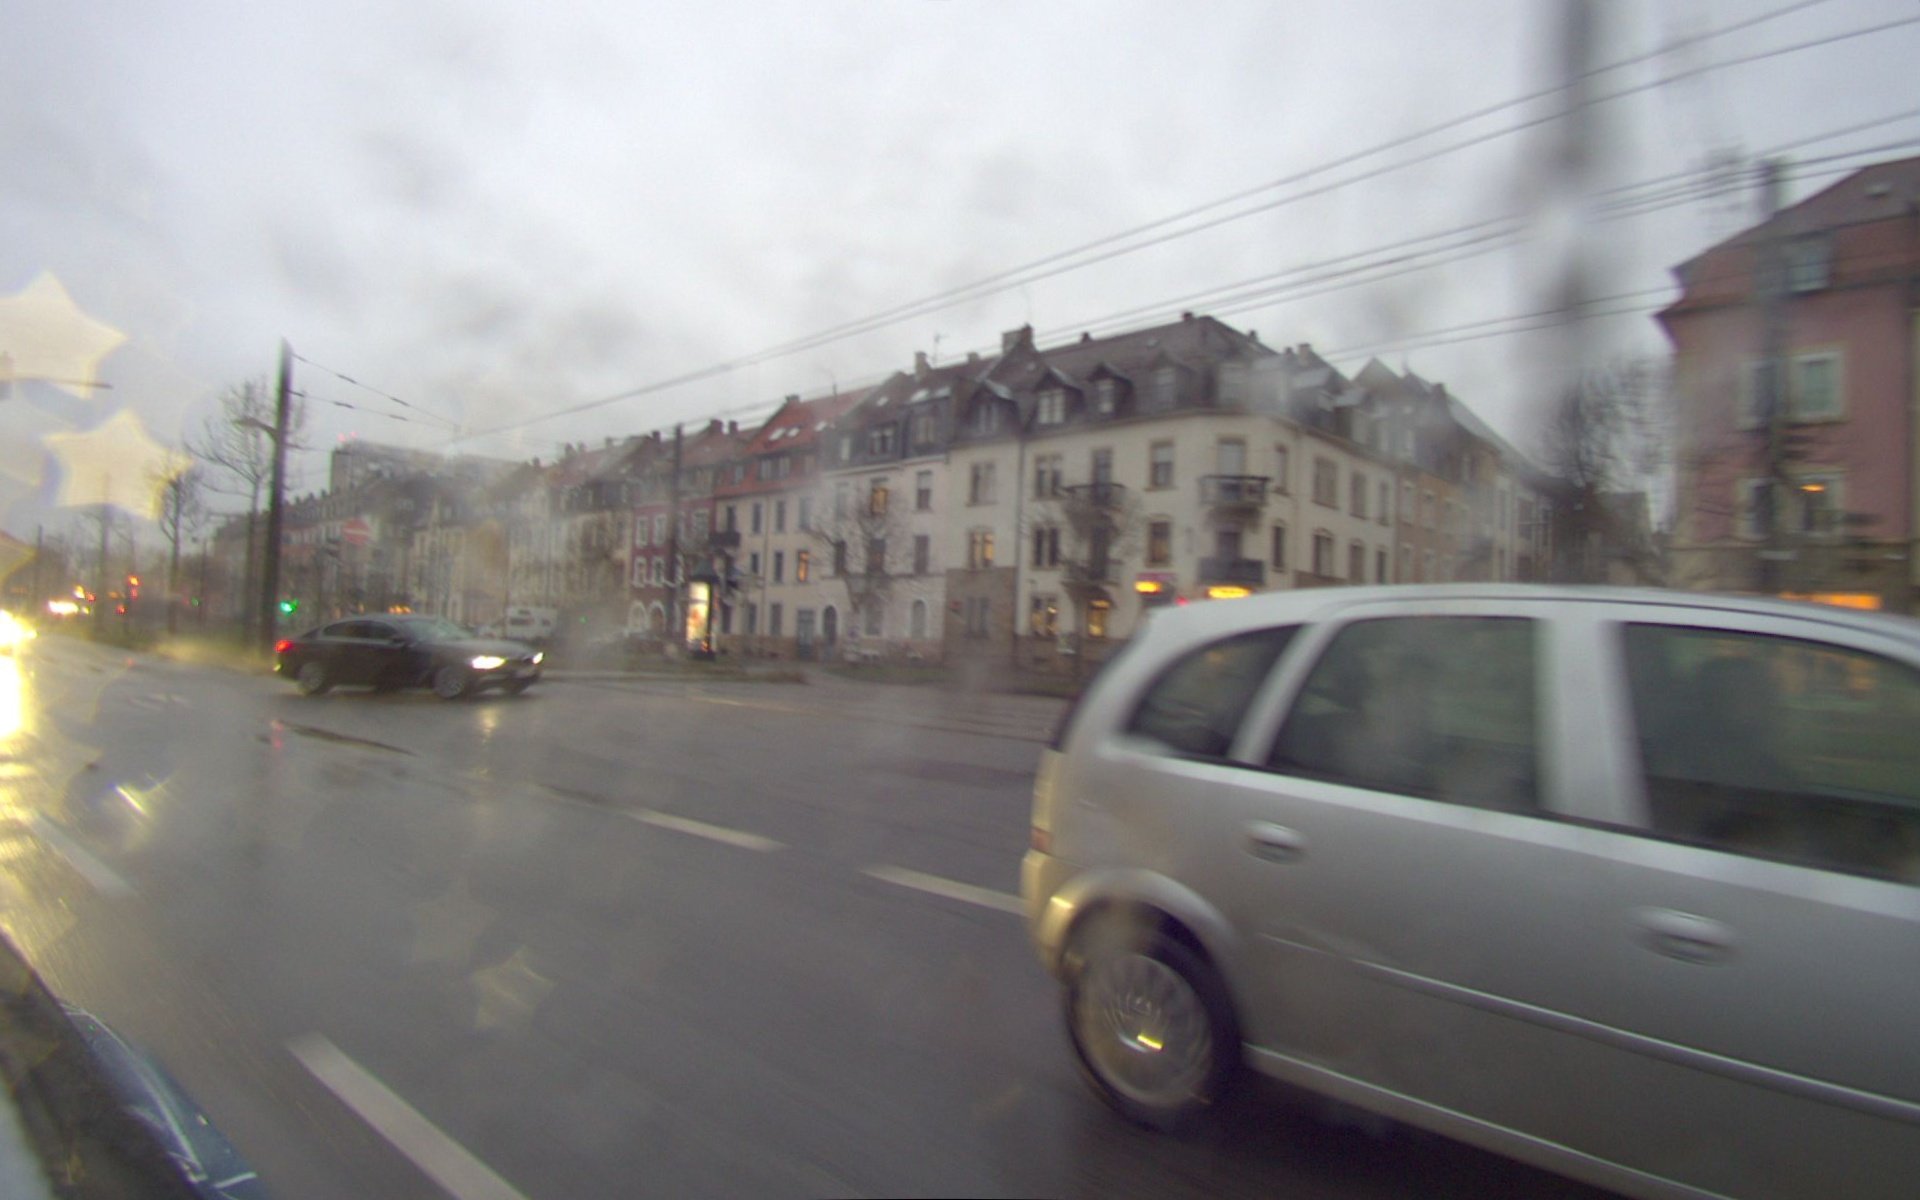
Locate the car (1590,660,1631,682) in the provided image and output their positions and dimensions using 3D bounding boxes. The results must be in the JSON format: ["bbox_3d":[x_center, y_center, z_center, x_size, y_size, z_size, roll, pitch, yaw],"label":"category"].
[{"bbox_3d":[46.472,5.089,72.258,1.795,1.497,3.942,0,-4,43],"label":"car"}]

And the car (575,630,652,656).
[{"bbox_3d":[-20.290,2.513,59.391,3.937,1.342,2.003,3,-3,-8],"label":"car"}]

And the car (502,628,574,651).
[{"bbox_3d":[-27.646,2.584,66.445,3.937,1.342,2.003,3,-3,-8],"label":"car"}]

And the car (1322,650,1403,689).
[{"bbox_3d":[16.814,2.912,42.195,1.795,1.497,3.942,0,-4,43],"label":"car"}]

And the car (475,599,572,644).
[{"bbox_3d":[-30.508,1.536,70.857,5.780,2.819,2.002,3,-3,-4],"label":"car"}]

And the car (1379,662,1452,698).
[{"bbox_3d":[20.561,3.596,45.609,1.795,1.497,3.942,0,-4,43],"label":"car"}]

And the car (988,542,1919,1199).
[{"bbox_3d":[2.213,0.733,2.568,4.051,1.612,1.790,0,-2,41],"label":"car"}]

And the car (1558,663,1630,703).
[{"bbox_3d":[25.587,3.297,40.788,1.998,1.431,3.948,0,-3,39],"label":"car"}]

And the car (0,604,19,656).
[{"bbox_3d":[-29.949,0.864,30.735,4.055,1.508,1.788,0,-2,45],"label":"car"}]

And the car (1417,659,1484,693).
[{"bbox_3d":[23.922,3.707,49.302,1.795,1.497,3.942,0,-4,43],"label":"car"}]

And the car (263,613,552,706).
[{"bbox_3d":[-10.040,1.027,18.437,4.785,1.441,1.804,1,-2,18],"label":"car"}]

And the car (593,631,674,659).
[{"bbox_3d":[-18.171,2.515,56.510,3.937,1.342,2.003,3,-3,-8],"label":"car"}]
